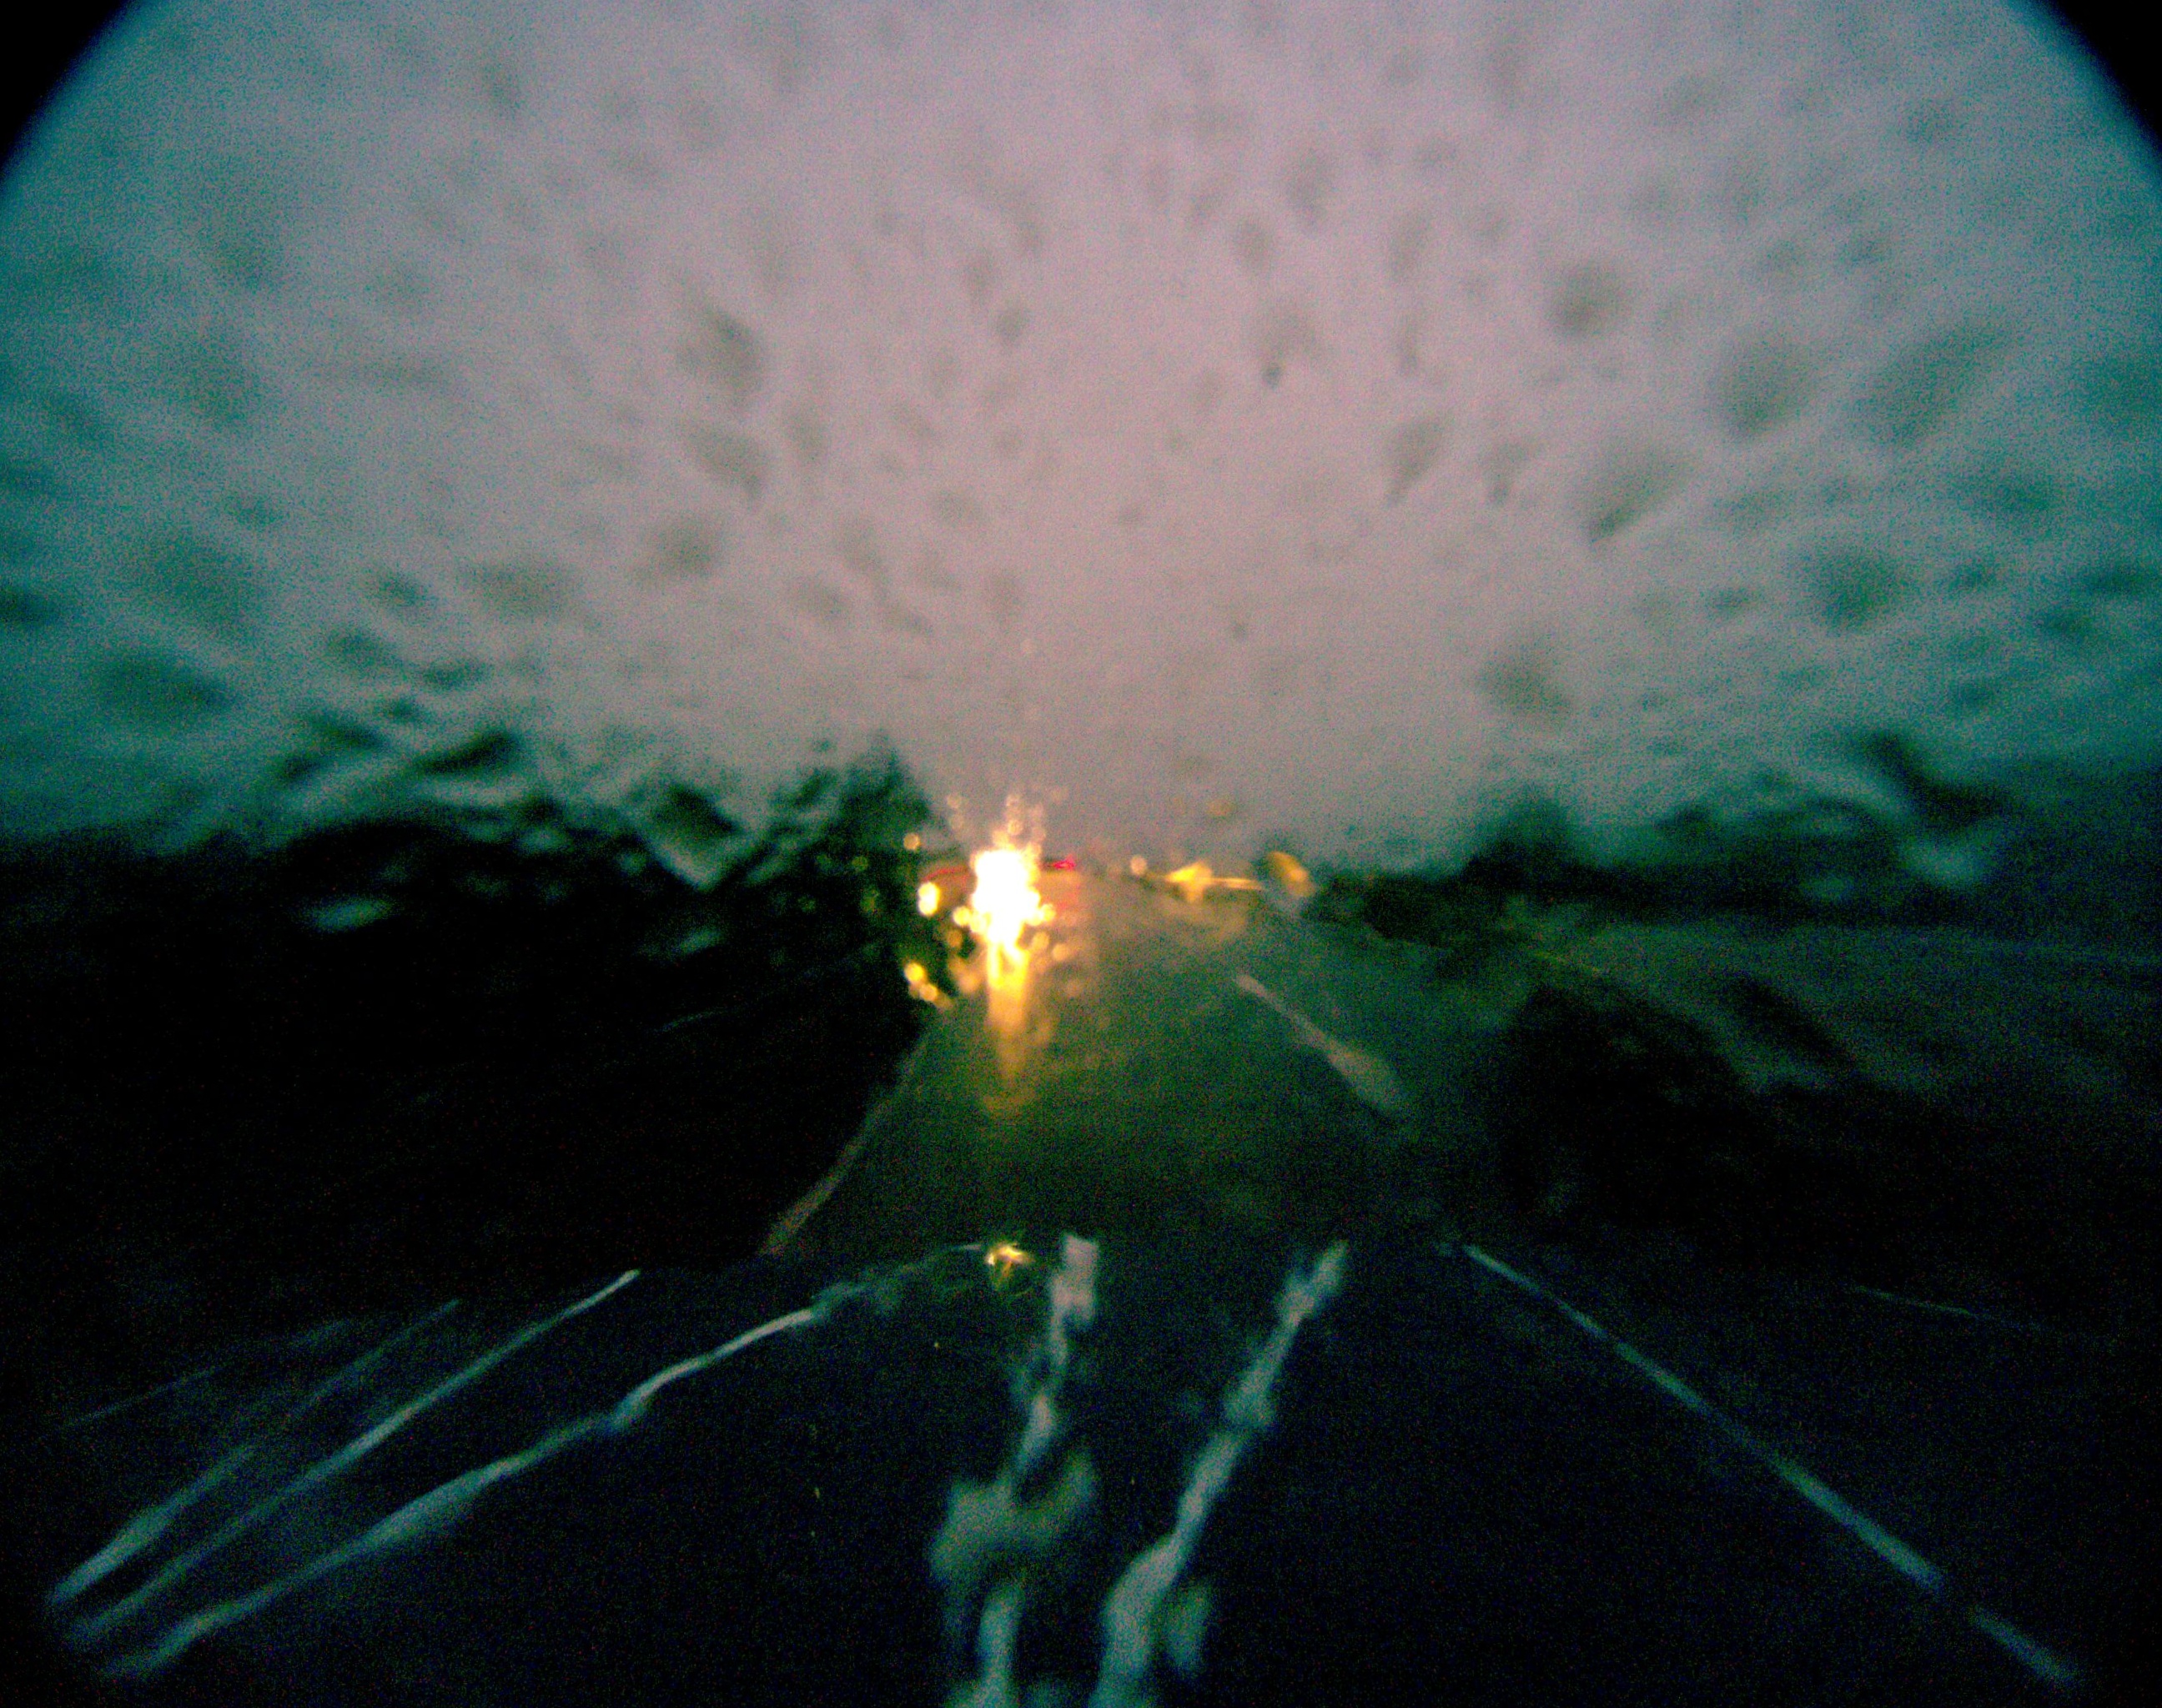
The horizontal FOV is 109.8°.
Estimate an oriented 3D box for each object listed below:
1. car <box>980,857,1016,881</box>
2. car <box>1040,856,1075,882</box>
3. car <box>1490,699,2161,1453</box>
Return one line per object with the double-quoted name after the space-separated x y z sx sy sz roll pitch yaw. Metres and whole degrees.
-5.962 1.128 54.245 2.104 1.565 4.797 1 -3 -11 "car"
-1.639 0.988 50.789 2.016 1.625 4.871 -1 0 -6 "car"
3.600 0.540 2.465 1.888 1.852 5.007 -1 0 1 "car"
